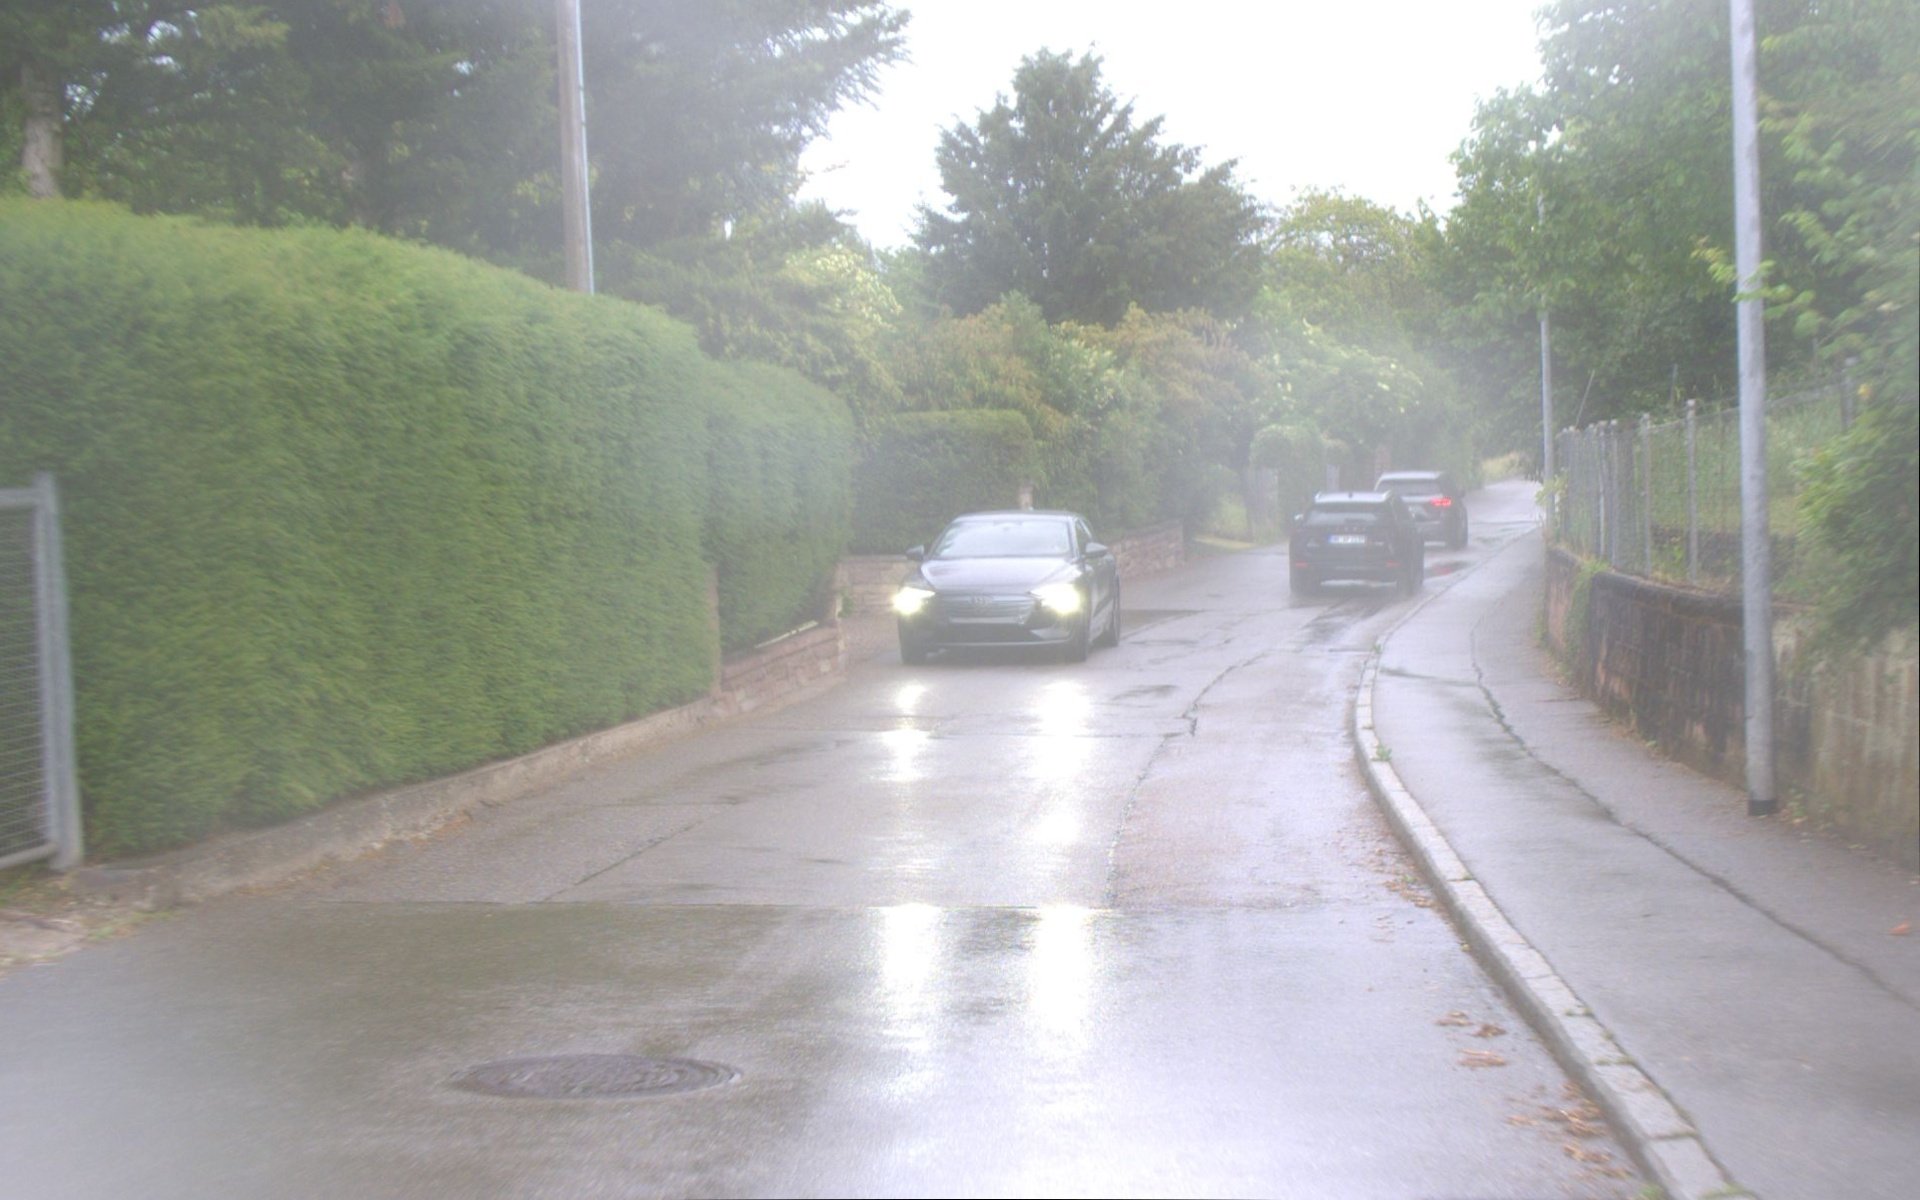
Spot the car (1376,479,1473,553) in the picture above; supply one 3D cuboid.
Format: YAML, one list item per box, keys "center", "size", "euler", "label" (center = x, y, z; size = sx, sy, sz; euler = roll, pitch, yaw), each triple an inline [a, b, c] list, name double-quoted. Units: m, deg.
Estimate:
- center: [9.073, -1.627, 67.029]
  size: [1.635, 1.409, 3.543]
  euler: [0, 1, 12]
  label: "car"

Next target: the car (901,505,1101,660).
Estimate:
- center: [0.492, -0.228, 36.148]
  size: [1.889, 1.518, 4.421]
  euler: [0, 1, 3]
  label: "car"

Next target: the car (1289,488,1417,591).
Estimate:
- center: [5.760, -0.880, 50.139]
  size: [1.635, 1.445, 3.543]
  euler: [0, 1, 10]
  label: "car"
